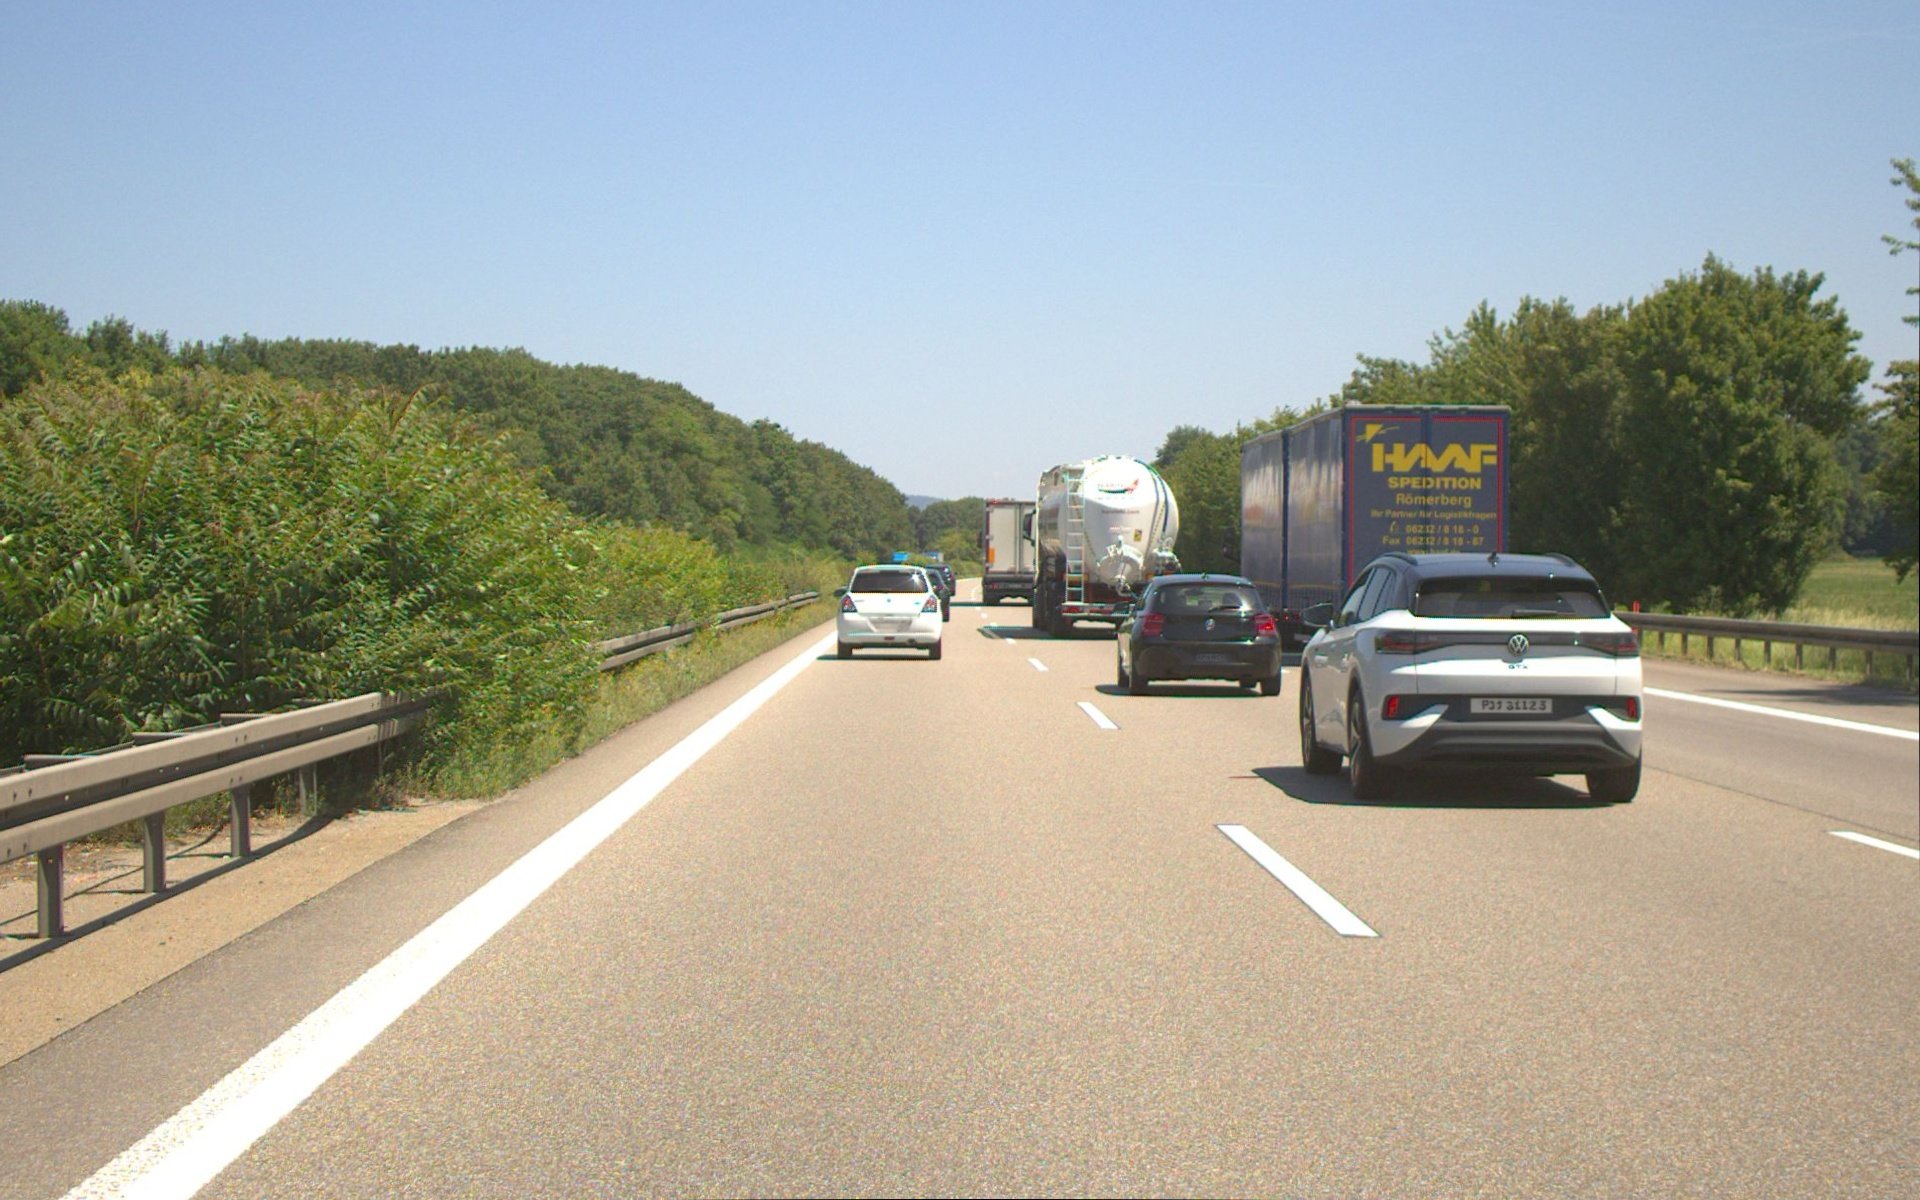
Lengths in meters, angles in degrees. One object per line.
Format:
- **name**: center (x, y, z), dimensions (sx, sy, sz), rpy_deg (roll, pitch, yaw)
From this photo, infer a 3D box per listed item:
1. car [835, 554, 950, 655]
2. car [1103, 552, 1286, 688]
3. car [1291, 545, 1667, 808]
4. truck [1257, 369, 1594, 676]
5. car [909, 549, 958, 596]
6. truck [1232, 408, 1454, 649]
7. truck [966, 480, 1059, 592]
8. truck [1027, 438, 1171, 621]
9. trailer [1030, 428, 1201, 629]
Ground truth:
- **car**: center (-1.122, 0.050, 56.092), dimensions (1.799, 1.546, 3.610), rpy_deg (1, 1, -2)
- **car**: center (2.775, 0.205, 41.438), dimensions (1.850, 1.518, 3.957), rpy_deg (1, 1, -1)
- **car**: center (3.423, 0.438, 23.460), dimensions (1.802, 1.597, 4.381), rpy_deg (1, 1, -1)
- **truck**: center (6.995, -1.166, 54.476), dimensions (3.109, 4.124, 15.512), rpy_deg (1, 1, 0)
- **car**: center (-1.365, -1.455, 179.966), dimensions (2.475, 2.346, 5.181), rpy_deg (1, 1, 0)
- **truck**: center (6.973, -1.305, 63.729), dimensions (3.109, 4.124, 8.056), rpy_deg (1, 1, 0)
- **truck**: center (2.016, -2.513, 136.458), dimensions (3.394, 4.199, 12.083), rpy_deg (1, 1, 0)
- **truck**: center (3.206, -1.638, 80.946), dimensions (2.912, 4.065, 7.195), rpy_deg (1, 1, -1)
- **trailer**: center (3.304, -1.554, 76.565), dimensions (2.911, 4.055, 12.419), rpy_deg (1, 1, -1)
